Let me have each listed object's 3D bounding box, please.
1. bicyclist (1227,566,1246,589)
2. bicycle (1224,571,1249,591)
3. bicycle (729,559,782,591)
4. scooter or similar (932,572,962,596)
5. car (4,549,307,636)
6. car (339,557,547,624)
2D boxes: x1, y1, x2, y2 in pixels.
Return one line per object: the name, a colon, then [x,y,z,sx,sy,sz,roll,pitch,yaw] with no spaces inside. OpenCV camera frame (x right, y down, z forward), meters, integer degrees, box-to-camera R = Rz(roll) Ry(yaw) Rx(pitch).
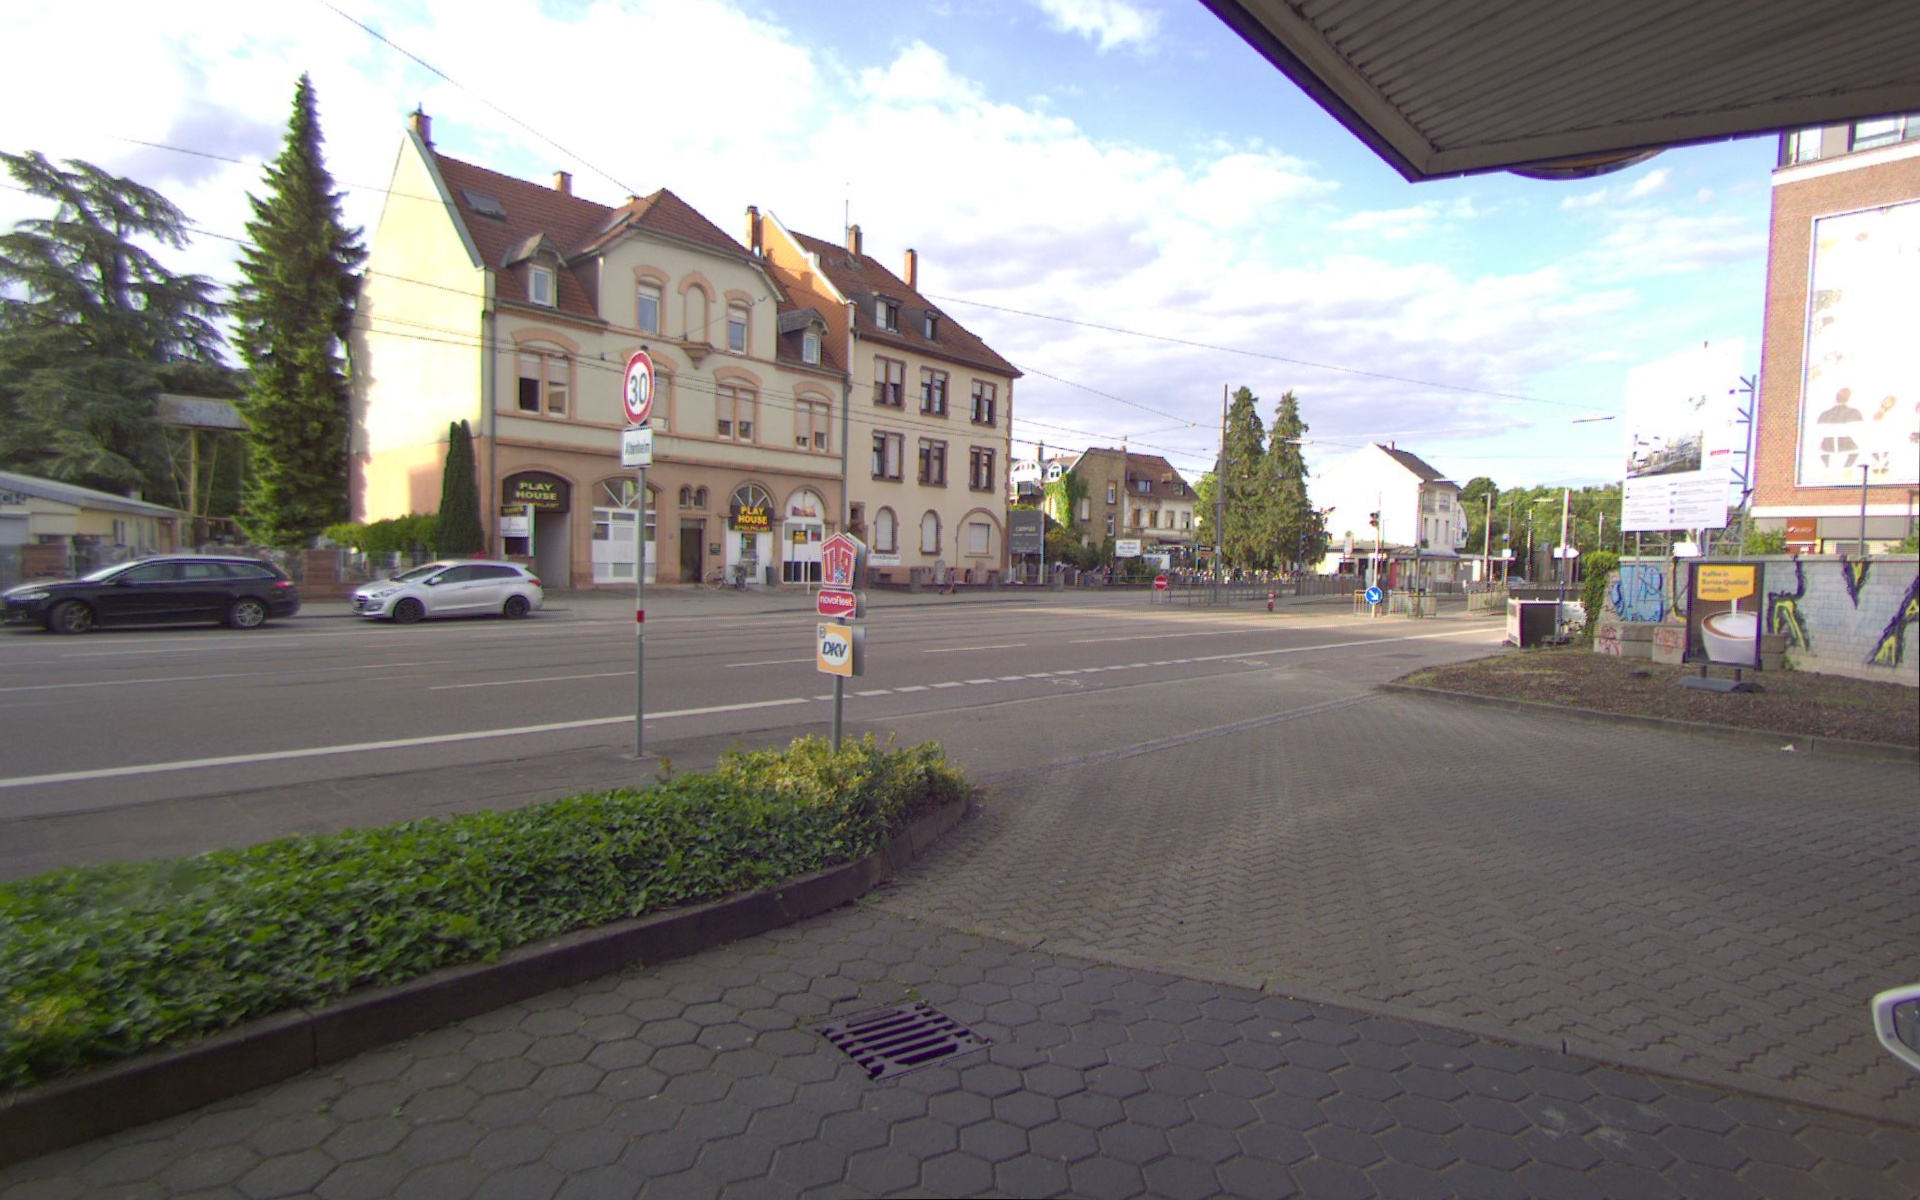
bicyclist: [17.929,-1.467,65.047,0.741,1.428,0.916,8,6,41]
bicycle: [17.898,-1.219,65.030,0.741,1.219,1.811,8,6,41]
bicycle: [-8.259,-1.003,40.625,0.741,1.219,2.011,8,5,41]
scooter or similar: [-0.578,-0.715,45.091,0.437,1.006,1.460,6,5,41]
car: [-16.496,-0.175,20.814,1.827,1.542,4.642,5,4,40]
car: [-12.938,-0.251,25.353,1.718,1.502,4.357,3,2,41]
